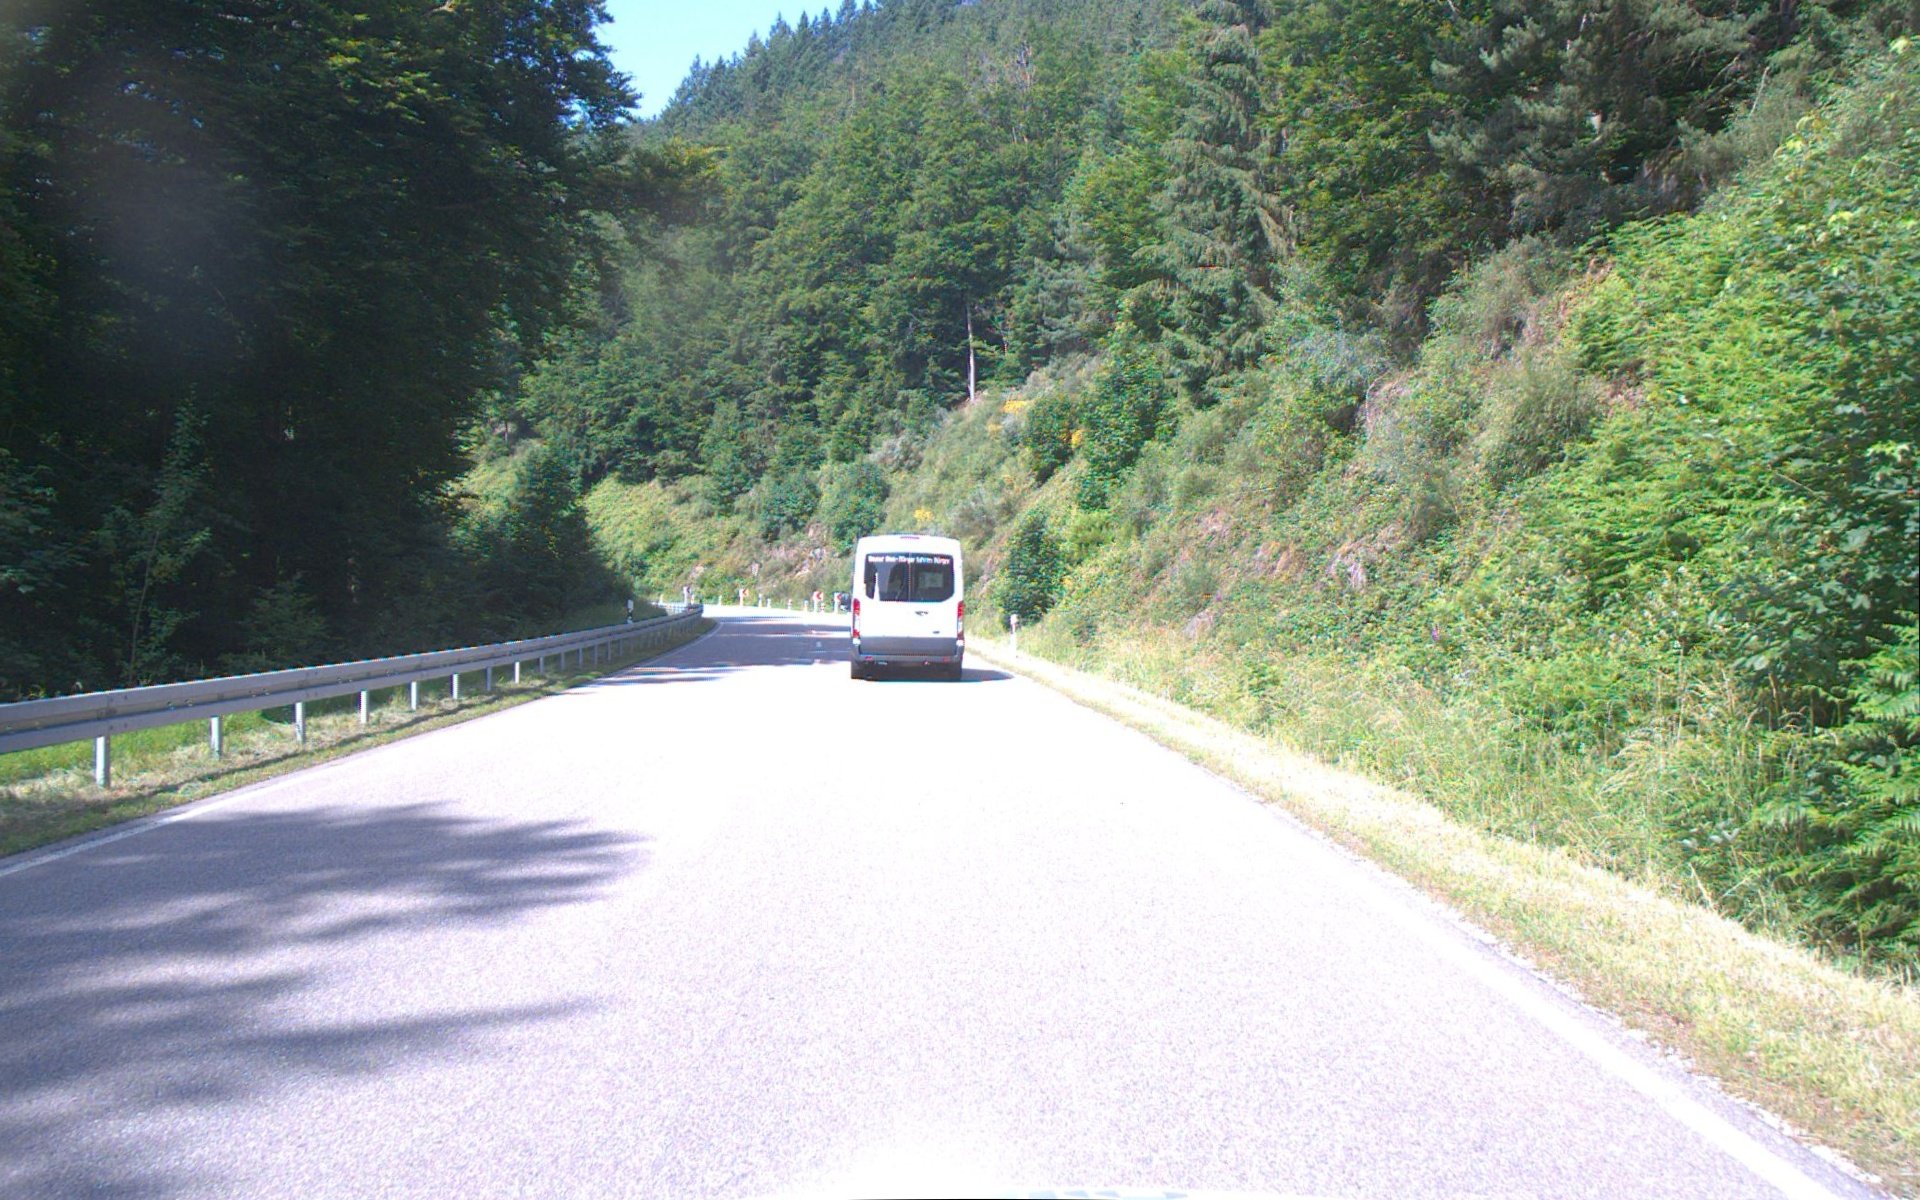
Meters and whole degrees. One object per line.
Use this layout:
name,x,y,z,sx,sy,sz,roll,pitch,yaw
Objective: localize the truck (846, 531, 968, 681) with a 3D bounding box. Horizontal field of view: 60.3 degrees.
truck,-1.054,0.110,30.400,2.042,2.503,4.871,1,0,-4
